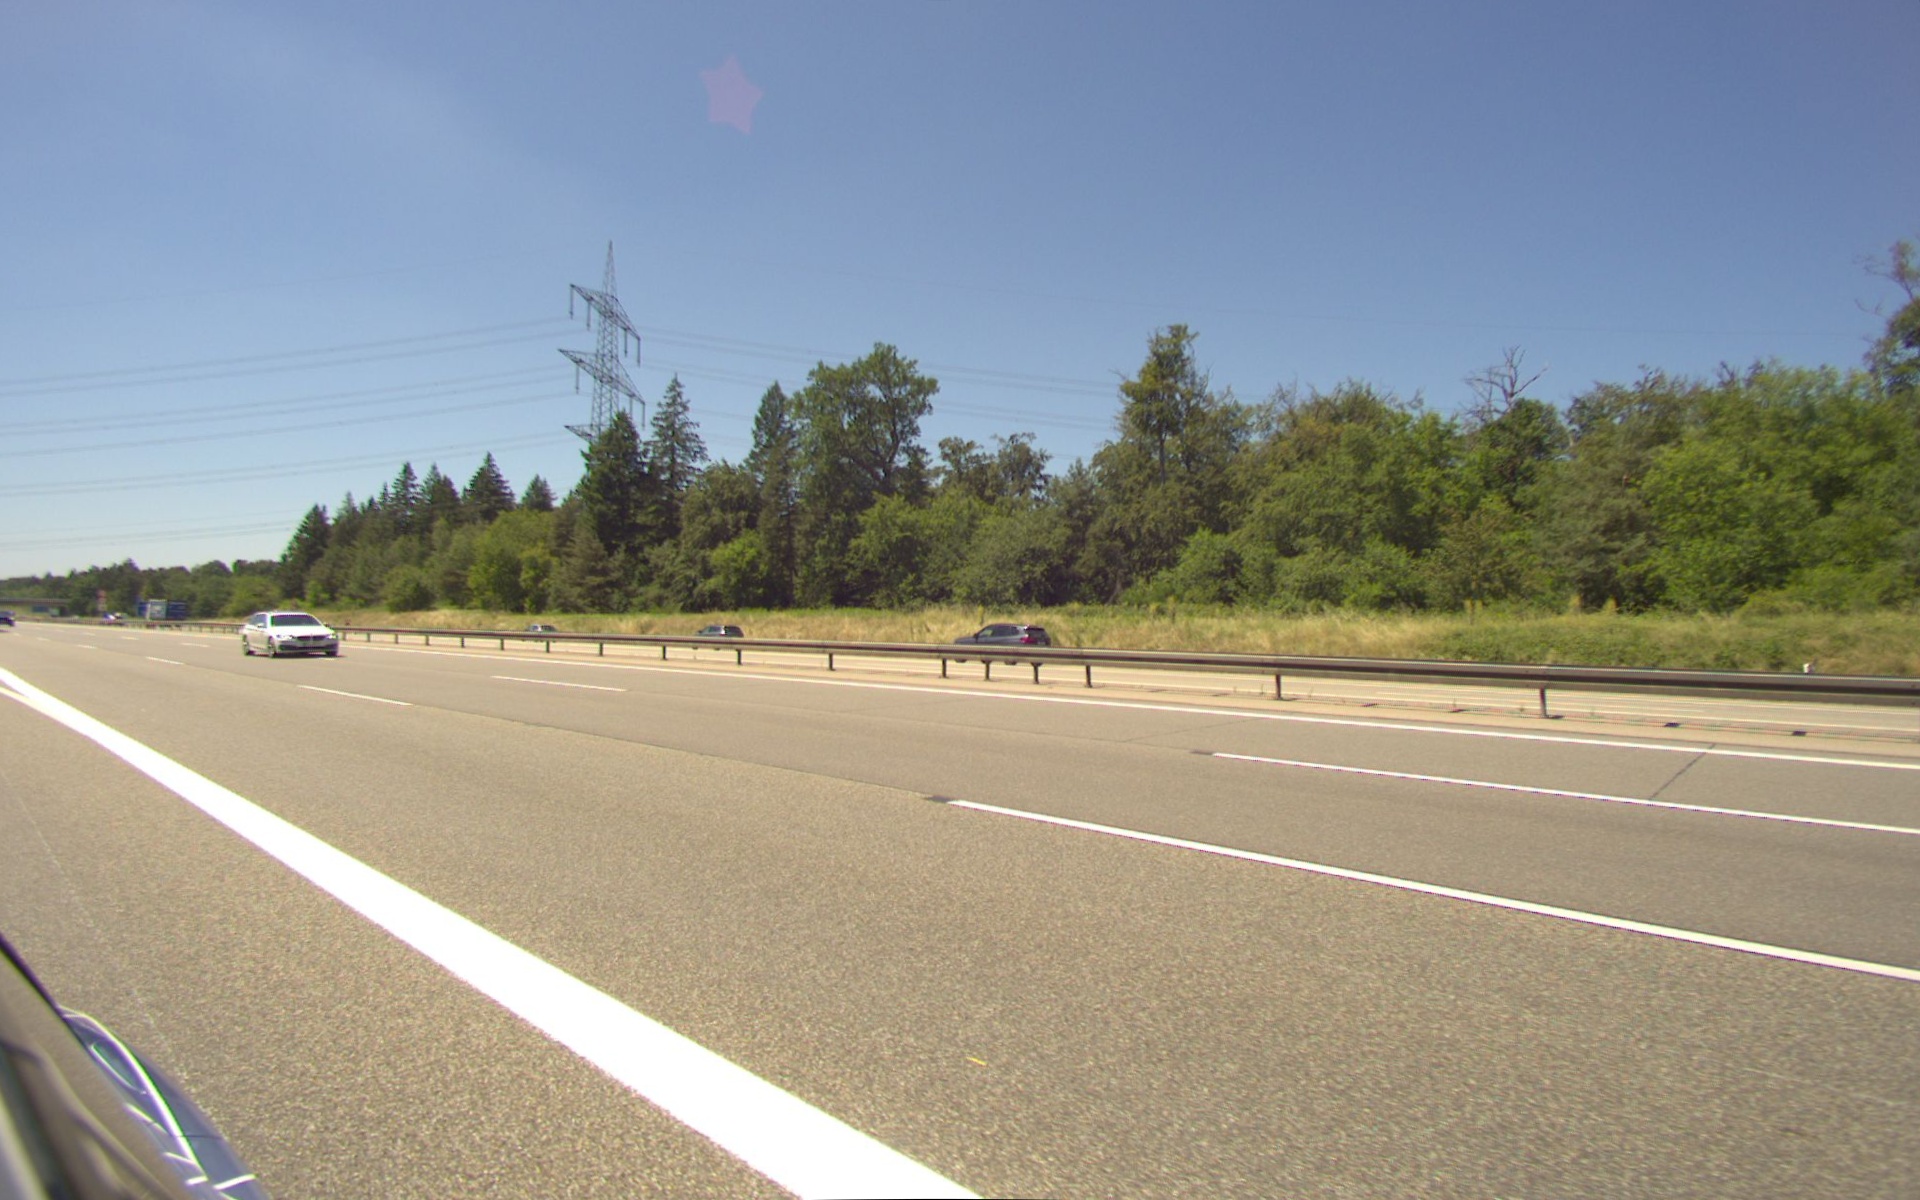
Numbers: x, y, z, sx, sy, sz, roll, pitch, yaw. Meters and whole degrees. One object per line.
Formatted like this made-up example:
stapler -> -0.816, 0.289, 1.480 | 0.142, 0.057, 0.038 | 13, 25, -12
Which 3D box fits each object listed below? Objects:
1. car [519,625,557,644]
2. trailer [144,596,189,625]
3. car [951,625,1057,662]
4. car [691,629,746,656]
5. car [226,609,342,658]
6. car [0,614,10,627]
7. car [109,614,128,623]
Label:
car -> -34.263, 2.778, 82.136 | 3.567, 1.488, 1.603 | -1, -2, 44
trailer -> -122.373, 1.628, 155.984 | 13.982, 4.204, 3.168 | -1, -3, 43
car -> 1.828, 1.829, 43.077 | 4.437, 1.431, 1.769 | -1, -1, 44
car -> -14.936, 2.613, 62.448 | 1.540, 1.539, 4.004 | 0, 0, -43
car -> -22.601, 1.050, 33.724 | 5.403, 1.515, 1.943 | 0, -1, 42
car -> -104.411, 2.235, 109.838 | 1.872, 1.436, 4.264 | 0, -1, -45
car -> -134.326, 2.915, 161.550 | 4.432, 1.413, 1.742 | -1, -3, 42
